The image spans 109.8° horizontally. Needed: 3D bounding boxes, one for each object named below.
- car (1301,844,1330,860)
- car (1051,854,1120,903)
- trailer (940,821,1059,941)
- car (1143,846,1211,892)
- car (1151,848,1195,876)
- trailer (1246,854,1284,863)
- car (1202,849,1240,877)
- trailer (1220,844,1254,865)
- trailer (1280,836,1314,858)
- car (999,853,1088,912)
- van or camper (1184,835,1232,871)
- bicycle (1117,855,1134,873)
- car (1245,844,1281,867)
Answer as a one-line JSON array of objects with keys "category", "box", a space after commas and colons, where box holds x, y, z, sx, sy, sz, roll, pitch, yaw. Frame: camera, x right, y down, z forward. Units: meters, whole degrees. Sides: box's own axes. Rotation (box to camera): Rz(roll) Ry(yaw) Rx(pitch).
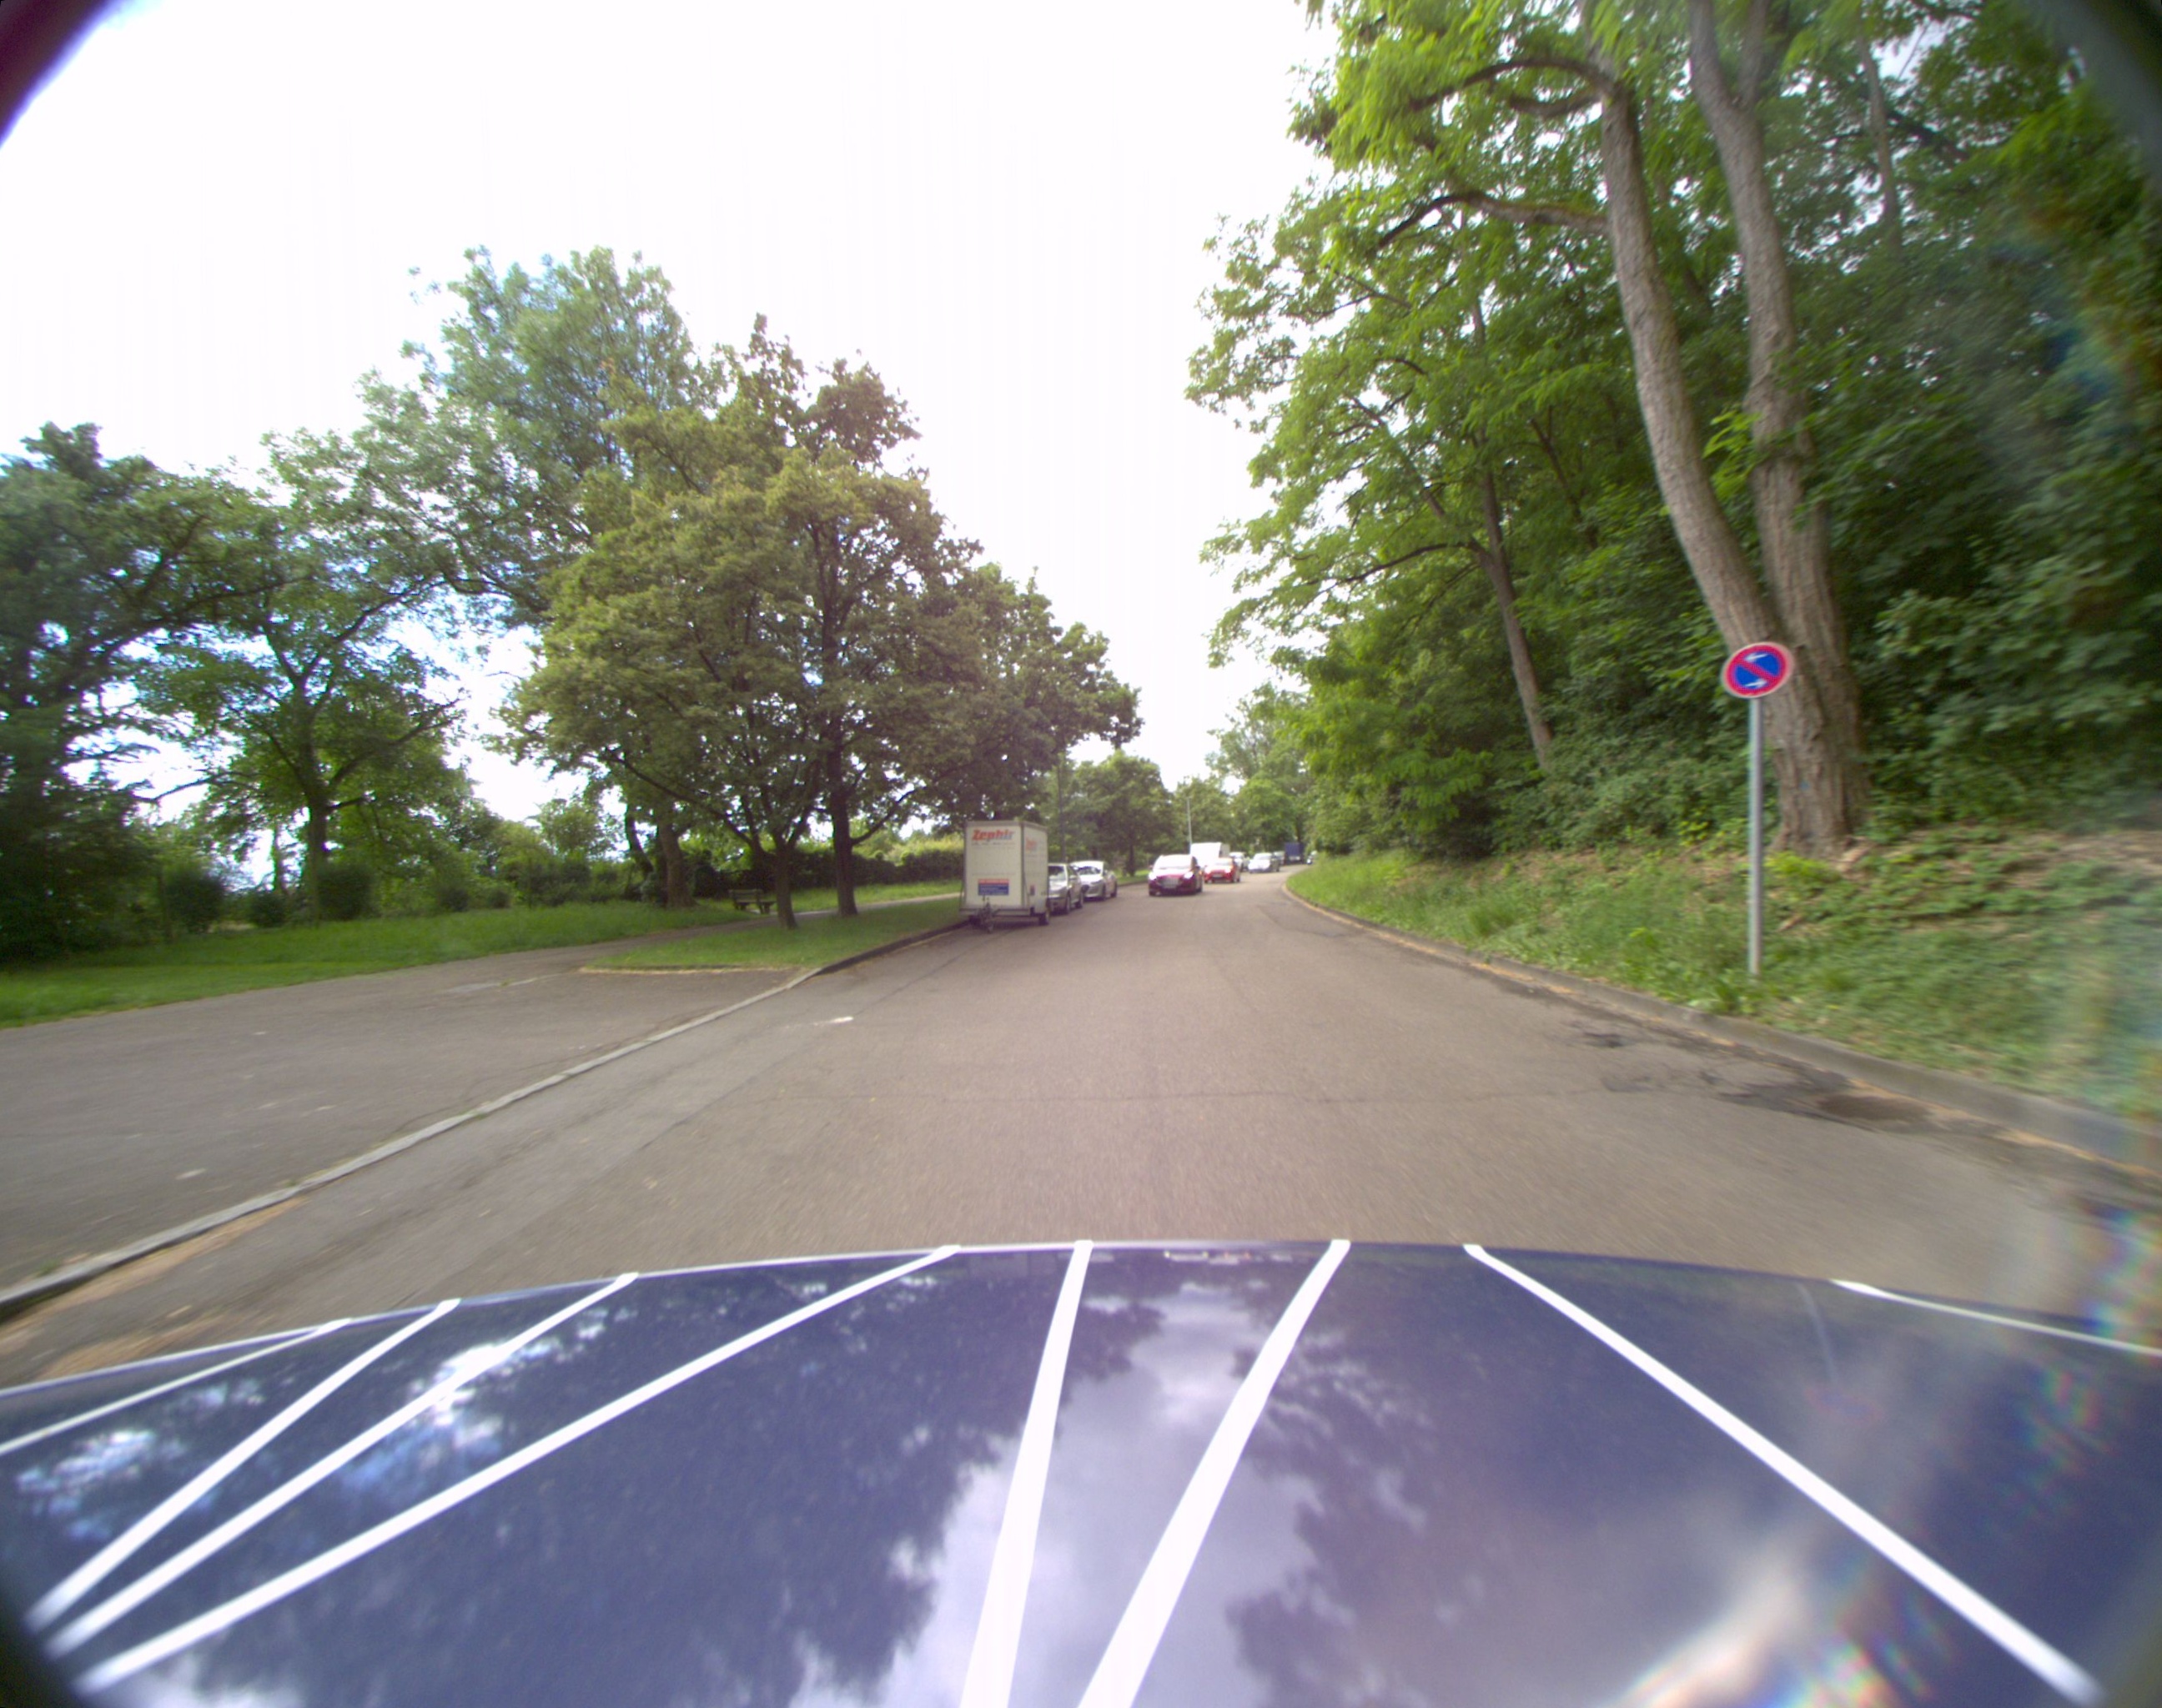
[{"category": "car", "box": [24.301, -0.228, 78.618, 1.800, 1.481, 4.008, -1, 1, 34]}, {"category": "car", "box": [0.252, 0.868, 28.967, 1.906, 1.468, 4.060, -4, 2, 9]}, {"category": "trailer", "box": [-1.724, 0.539, 17.457, 1.764, 2.413, 3.889, -1, 1, 8]}, {"category": "car", "box": [4.093, 0.567, 31.658, 1.996, 1.619, 4.631, -3, 0, 17]}, {"category": "car", "box": [6.003, 0.484, 49.113, 1.850, 1.633, 4.536, -2, 0, 19]}, {"category": "trailer", "box": [18.055, 0.432, 74.263, 2.106, 0.647, 6.411, -3, 0, 28]}, {"category": "car", "box": [8.249, 0.504, 44.507, 1.865, 1.440, 4.180, -2, 0, 14]}, {"category": "trailer", "box": [13.765, 0.015, 66.929, 1.774, 1.720, 4.658, -2, 0, 26]}, {"category": "trailer", "box": [23.724, -0.698, 83.441, 2.107, 2.348, 4.711, 0, 0, 35]}, {"category": "car", "box": [-1.004, 0.769, 22.865, 1.744, 1.516, 4.638, -1, 1, 8]}, {"category": "van or camper", "box": [9.875, -0.144, 58.581, 2.163, 2.521, 6.040, -3, 1, 24]}, {"category": "bicycle", "box": [3.083, 0.681, 52.573, 0.534, 1.208, 2.187, -2, 1, 18]}, {"category": "car", "box": [14.963, 0.095, 62.346, 1.919, 1.672, 4.006, 0, 3, 27]}]
